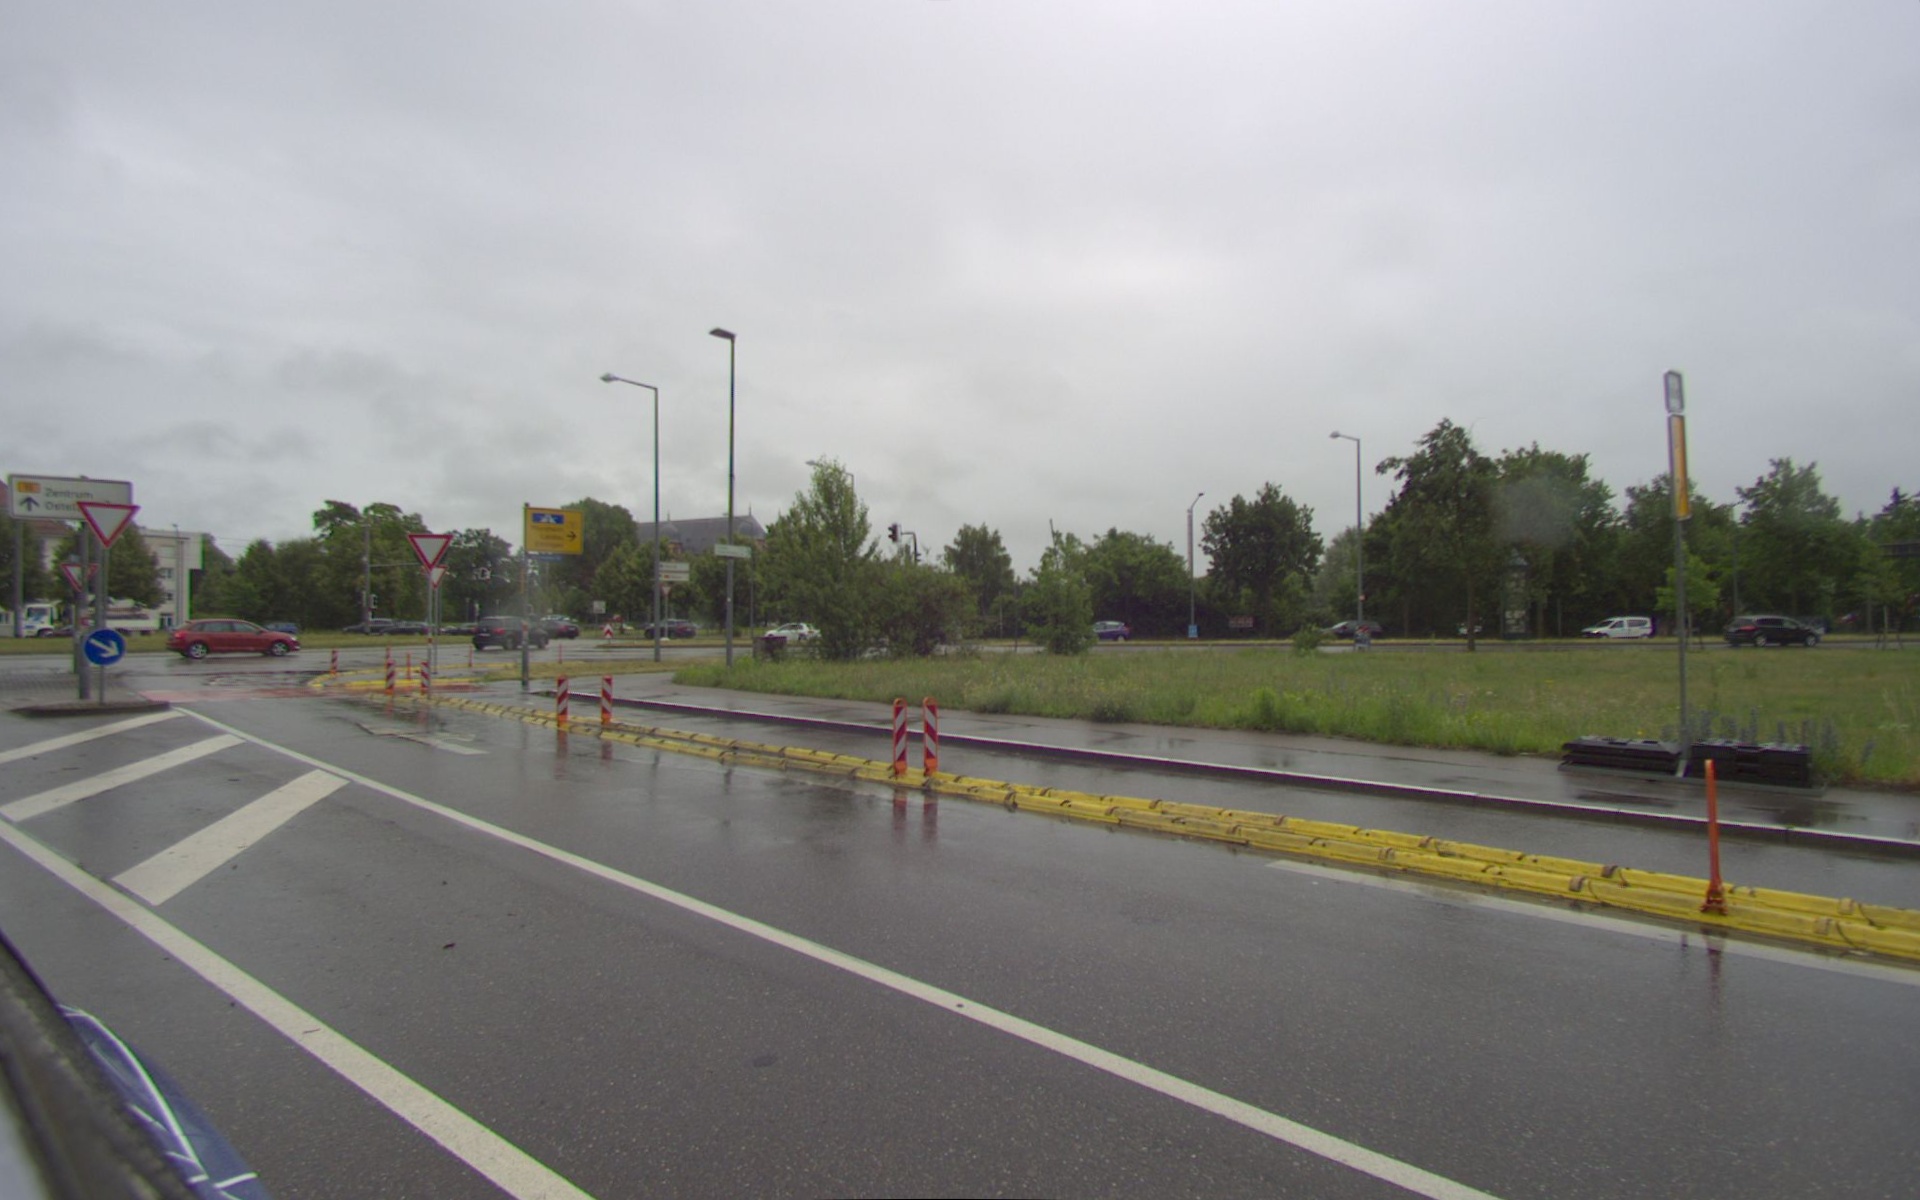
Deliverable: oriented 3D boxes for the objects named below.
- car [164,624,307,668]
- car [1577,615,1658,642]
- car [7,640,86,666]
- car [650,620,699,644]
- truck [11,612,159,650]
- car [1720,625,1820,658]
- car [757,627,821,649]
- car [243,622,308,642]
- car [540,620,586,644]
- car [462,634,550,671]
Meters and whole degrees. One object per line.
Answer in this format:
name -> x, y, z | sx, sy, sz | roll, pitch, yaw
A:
car -> -27.867, 1.718, 39.002 | 1.790, 1.470, 4.252 | -1, 0, 45
car -> 44.365, 1.910, 68.358 | 4.278, 1.660, 1.790 | 1, 0, -2
car -> -65.115, 3.734, 72.163 | 1.787, 1.660, 3.948 | 1, 0, 38
car -> -22.285, 2.458, 78.891 | 1.763, 1.660, 4.391 | 1, 0, -45
truck -> -68.534, 2.381, 79.510 | 8.662, 2.731, 2.003 | 1, 0, -42
car -> 43.461, 2.217, 54.352 | 3.943, 1.660, 1.789 | 1, 0, -1
car -> -12.053, 2.686, 71.422 | 4.213, 1.386, 1.623 | 1, 0, 17
car -> -53.452, 2.499, 79.063 | 3.930, 1.461, 1.853 | 0, -1, -24
car -> -31.286, 2.474, 79.683 | 1.762, 1.660, 4.397 | 1, 0, -44
car -> -21.854, 2.490, 48.901 | 1.769, 1.529, 4.319 | -1, 0, 10
